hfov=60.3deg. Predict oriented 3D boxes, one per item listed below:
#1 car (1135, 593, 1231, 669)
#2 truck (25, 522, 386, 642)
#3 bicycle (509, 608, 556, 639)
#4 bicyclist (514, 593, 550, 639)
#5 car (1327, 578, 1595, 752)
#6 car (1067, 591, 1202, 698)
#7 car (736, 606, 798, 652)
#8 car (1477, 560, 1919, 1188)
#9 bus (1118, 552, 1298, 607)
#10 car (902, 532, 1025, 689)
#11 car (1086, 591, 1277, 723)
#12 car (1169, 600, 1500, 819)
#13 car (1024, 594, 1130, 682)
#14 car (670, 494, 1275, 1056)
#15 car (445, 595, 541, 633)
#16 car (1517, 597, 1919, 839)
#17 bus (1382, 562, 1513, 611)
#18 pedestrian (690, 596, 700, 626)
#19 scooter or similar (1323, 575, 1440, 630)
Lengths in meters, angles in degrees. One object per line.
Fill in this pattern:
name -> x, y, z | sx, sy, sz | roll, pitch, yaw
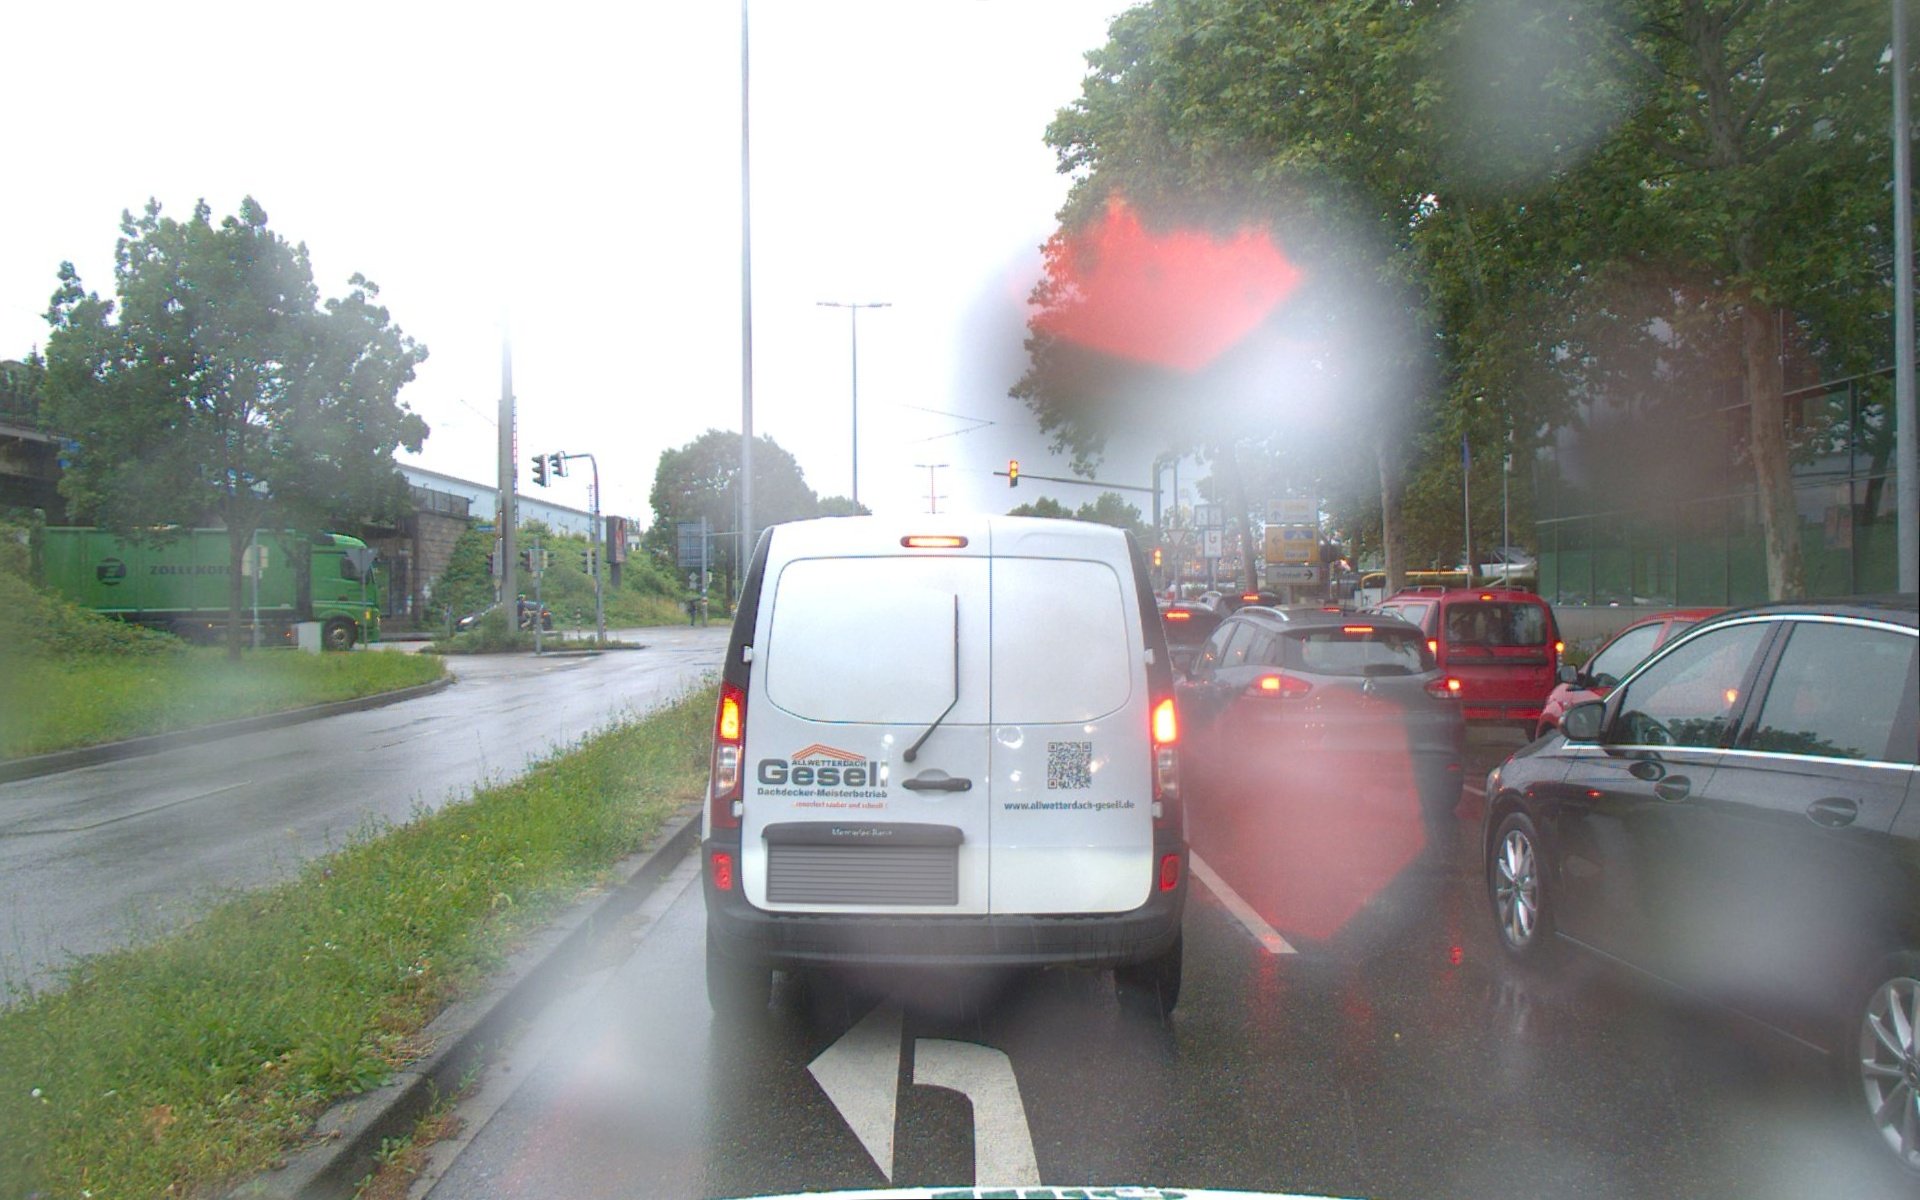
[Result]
car -> 5.168, 0.691, 38.693 | 1.674, 1.678, 3.842 | 1, 0, -1
truck -> -23.181, -0.557, 51.319 | 9.957, 3.430, 2.316 | 0, 0, -37
bicycle -> -14.334, 0.775, 55.344 | 1.027, 0.968, 2.865 | -1, 1, -25
bicyclist -> -14.293, 0.526, 55.262 | 1.028, 1.475, 0.723 | -1, 1, -26
car -> 5.512, 0.672, 18.763 | 1.676, 1.724, 4.271 | 1, -1, -1
car -> 2.871, 0.688, 27.885 | 1.816, 1.678, 3.842 | 0, 0, -1
car -> -6.830, 1.011, 58.898 | 1.779, 1.488, 3.999 | -3, 0, -2
car -> 3.245, 0.692, 5.439 | 1.712, 1.582, 4.089 | 0, 0, -2
bus -> 16.589, -1.369, 111.144 | 11.727, 3.483, 2.315 | -1, 1, -1
car -> 0.027, 0.140, 26.491 | 1.816, 2.336, 3.842 | 0, 0, -1
car -> 2.660, 0.639, 20.654 | 1.816, 1.486, 3.842 | 0, 0, -1
car -> 2.777, 0.739, 13.100 | 1.649, 1.433, 3.842 | 1, 0, -2
car -> 2.306, 0.741, 33.539 | 1.816, 1.678, 3.842 | 0, 0, -1
car -> 0.012, 0.544, 7.634 | 1.953, 1.807, 4.584 | 0, 0, -1
car -> -22.072, 0.630, 78.223 | 3.956, 1.747, 1.974 | 0, 0, -37
car -> 5.432, 0.735, 12.013 | 1.537, 1.488, 3.388 | 0, 0, -2
bus -> 36.498, -1.045, 123.385 | 11.868, 3.483, 2.453 | -1, 1, -35
pedestrian -> -15.363, 0.646, 95.851 | 0.532, 1.746, 0.563 | 1, -1, -5
scooter or similar -> 19.664, 0.119, 77.353 | 1.878, 2.489, 5.239 | 0, 0, -41
